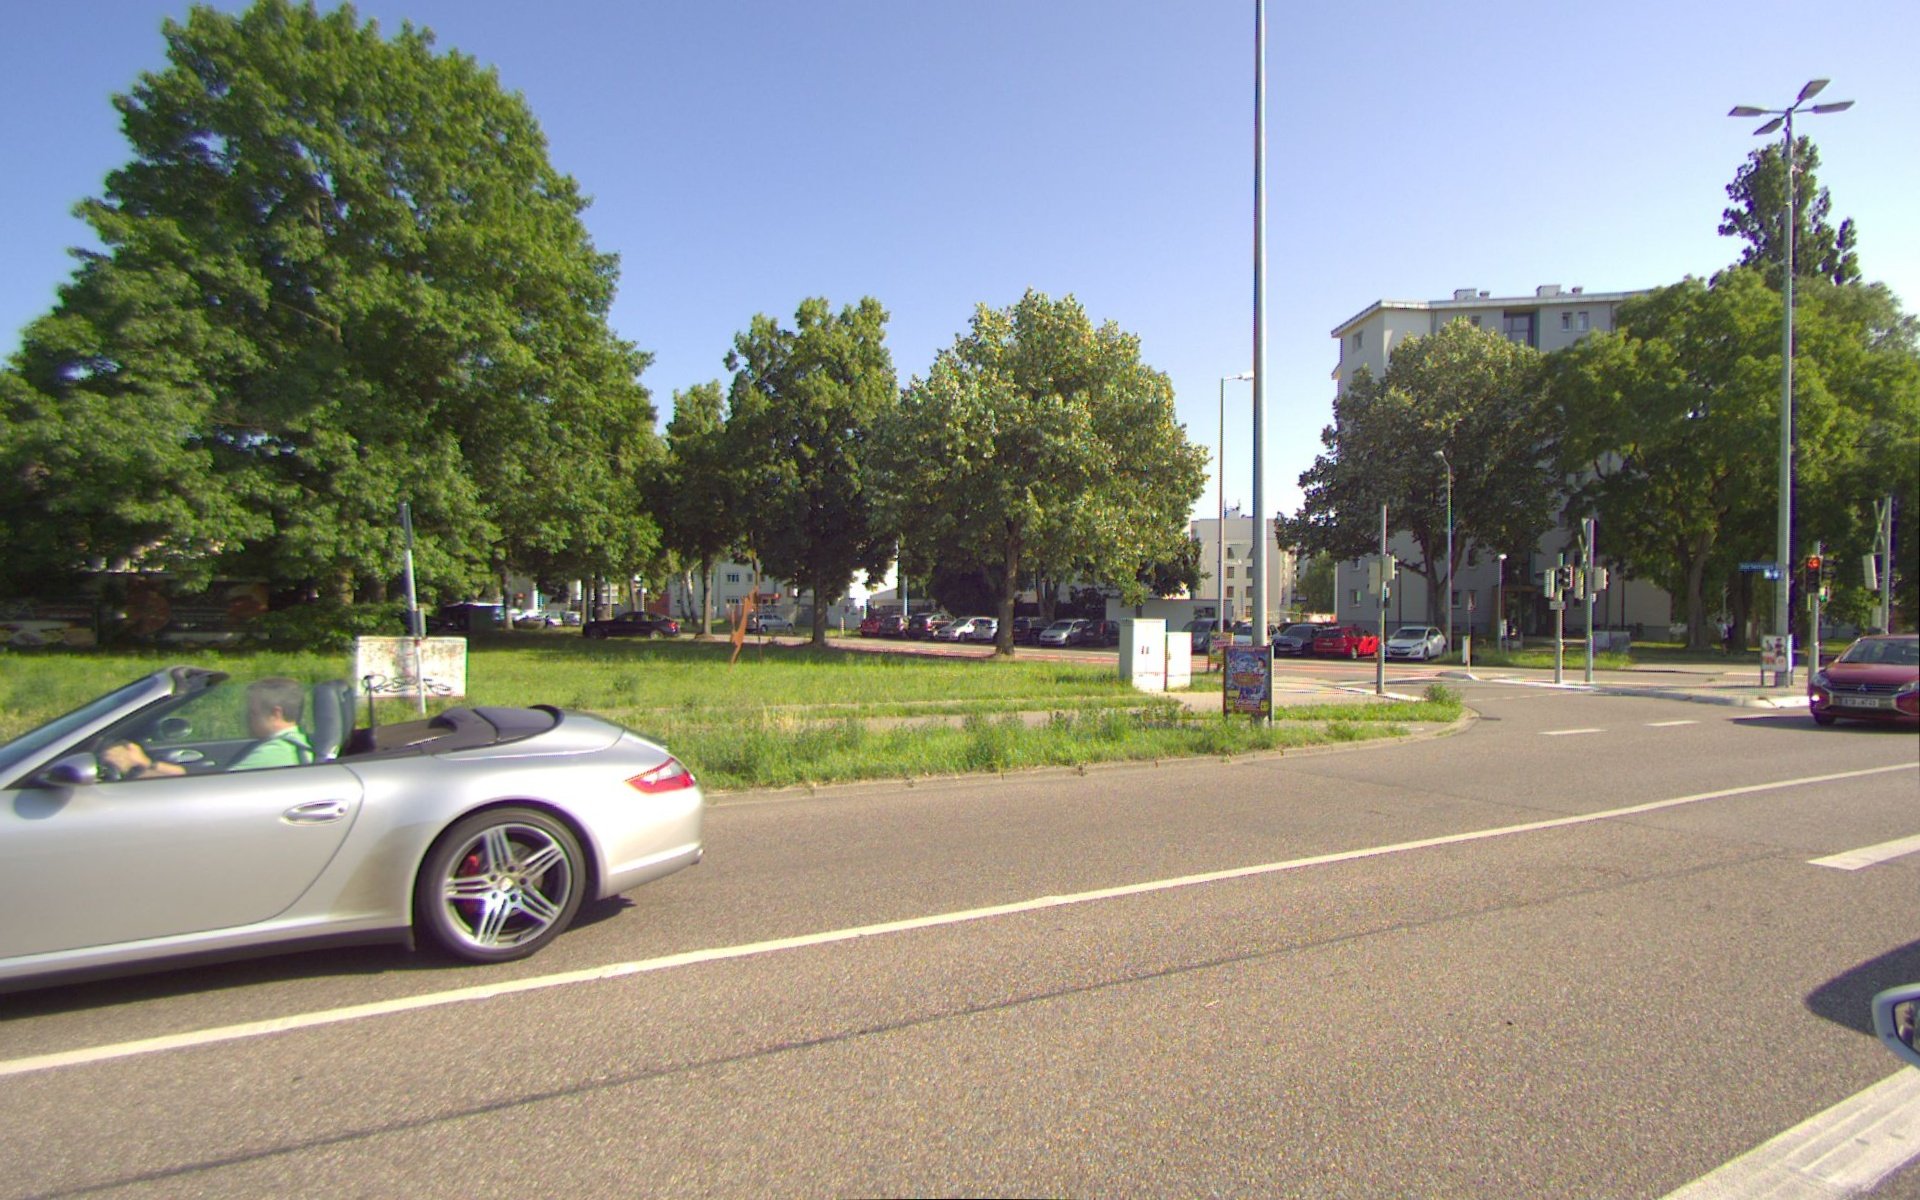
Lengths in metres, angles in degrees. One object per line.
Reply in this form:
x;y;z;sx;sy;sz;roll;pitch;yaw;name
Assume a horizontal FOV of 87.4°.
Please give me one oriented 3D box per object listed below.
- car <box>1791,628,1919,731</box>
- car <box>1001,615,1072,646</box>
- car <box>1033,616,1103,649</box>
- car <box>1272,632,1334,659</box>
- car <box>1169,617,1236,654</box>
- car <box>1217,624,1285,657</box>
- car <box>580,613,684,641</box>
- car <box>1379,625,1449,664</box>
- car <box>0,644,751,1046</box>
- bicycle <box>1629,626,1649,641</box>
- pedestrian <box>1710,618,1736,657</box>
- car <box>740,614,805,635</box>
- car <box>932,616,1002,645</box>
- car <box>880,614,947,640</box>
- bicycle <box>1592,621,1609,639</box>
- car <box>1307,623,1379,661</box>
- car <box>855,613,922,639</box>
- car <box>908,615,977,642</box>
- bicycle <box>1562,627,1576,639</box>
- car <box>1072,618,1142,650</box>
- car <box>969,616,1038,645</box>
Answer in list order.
15.303;1.219;16.313;3.634;1.518;1.686;1;-2;-31;car
4.605;1.794;59.880;1.758;1.497;4.791;0;3;39;car
6.264;1.835;57.804;1.758;1.497;4.692;0;3;39;car
16.633;2.202;48.674;1.445;1.209;3.765;0;-1;43;car
12.675;1.846;52.398;1.759;1.835;3.979;0;-1;41;car
14.698;2.018;50.561;1.759;1.541;3.979;0;-1;41;car
-16.251;1.325;49.883;4.682;1.338;1.524;1;-1;-8;car
20.554;1.974;45.405;1.760;1.459;3.977;0;2;43;car
-3.268;0.896;4.530;4.235;1.327;1.772;1;-1;-29;car
42.673;2.094;63.164;0.658;0.932;2.404;1;-1;26;bicycle
34.230;1.673;45.072;0.693;1.736;0.623;1;0;-18;pedestrian
-14.203;1.857;76.314;1.760;1.497;4.786;0;-1;43;car
0.506;1.861;62.698;1.758;1.497;4.791;0;2;39;car
-3.047;1.753;66.875;1.758;1.497;4.791;0;2;39;car
40.837;1.940;64.079;0.601;1.080;1.916;1;-2;24;bicycle
18.089;1.954;47.339;1.761;1.435;3.975;0;3;44;car
-4.810;1.746;68.342;1.758;1.497;4.791;0;2;39;car
-1.066;1.811;64.622;1.758;1.497;4.791;0;2;39;car
39.360;2.101;64.936;0.574;0.718;2.236;1;0;26;bicycle
8.420;1.890;57.151;1.758;1.497;4.791;0;2;39;car
2.704;1.816;61.456;1.758;1.497;4.755;0;2;39;car
